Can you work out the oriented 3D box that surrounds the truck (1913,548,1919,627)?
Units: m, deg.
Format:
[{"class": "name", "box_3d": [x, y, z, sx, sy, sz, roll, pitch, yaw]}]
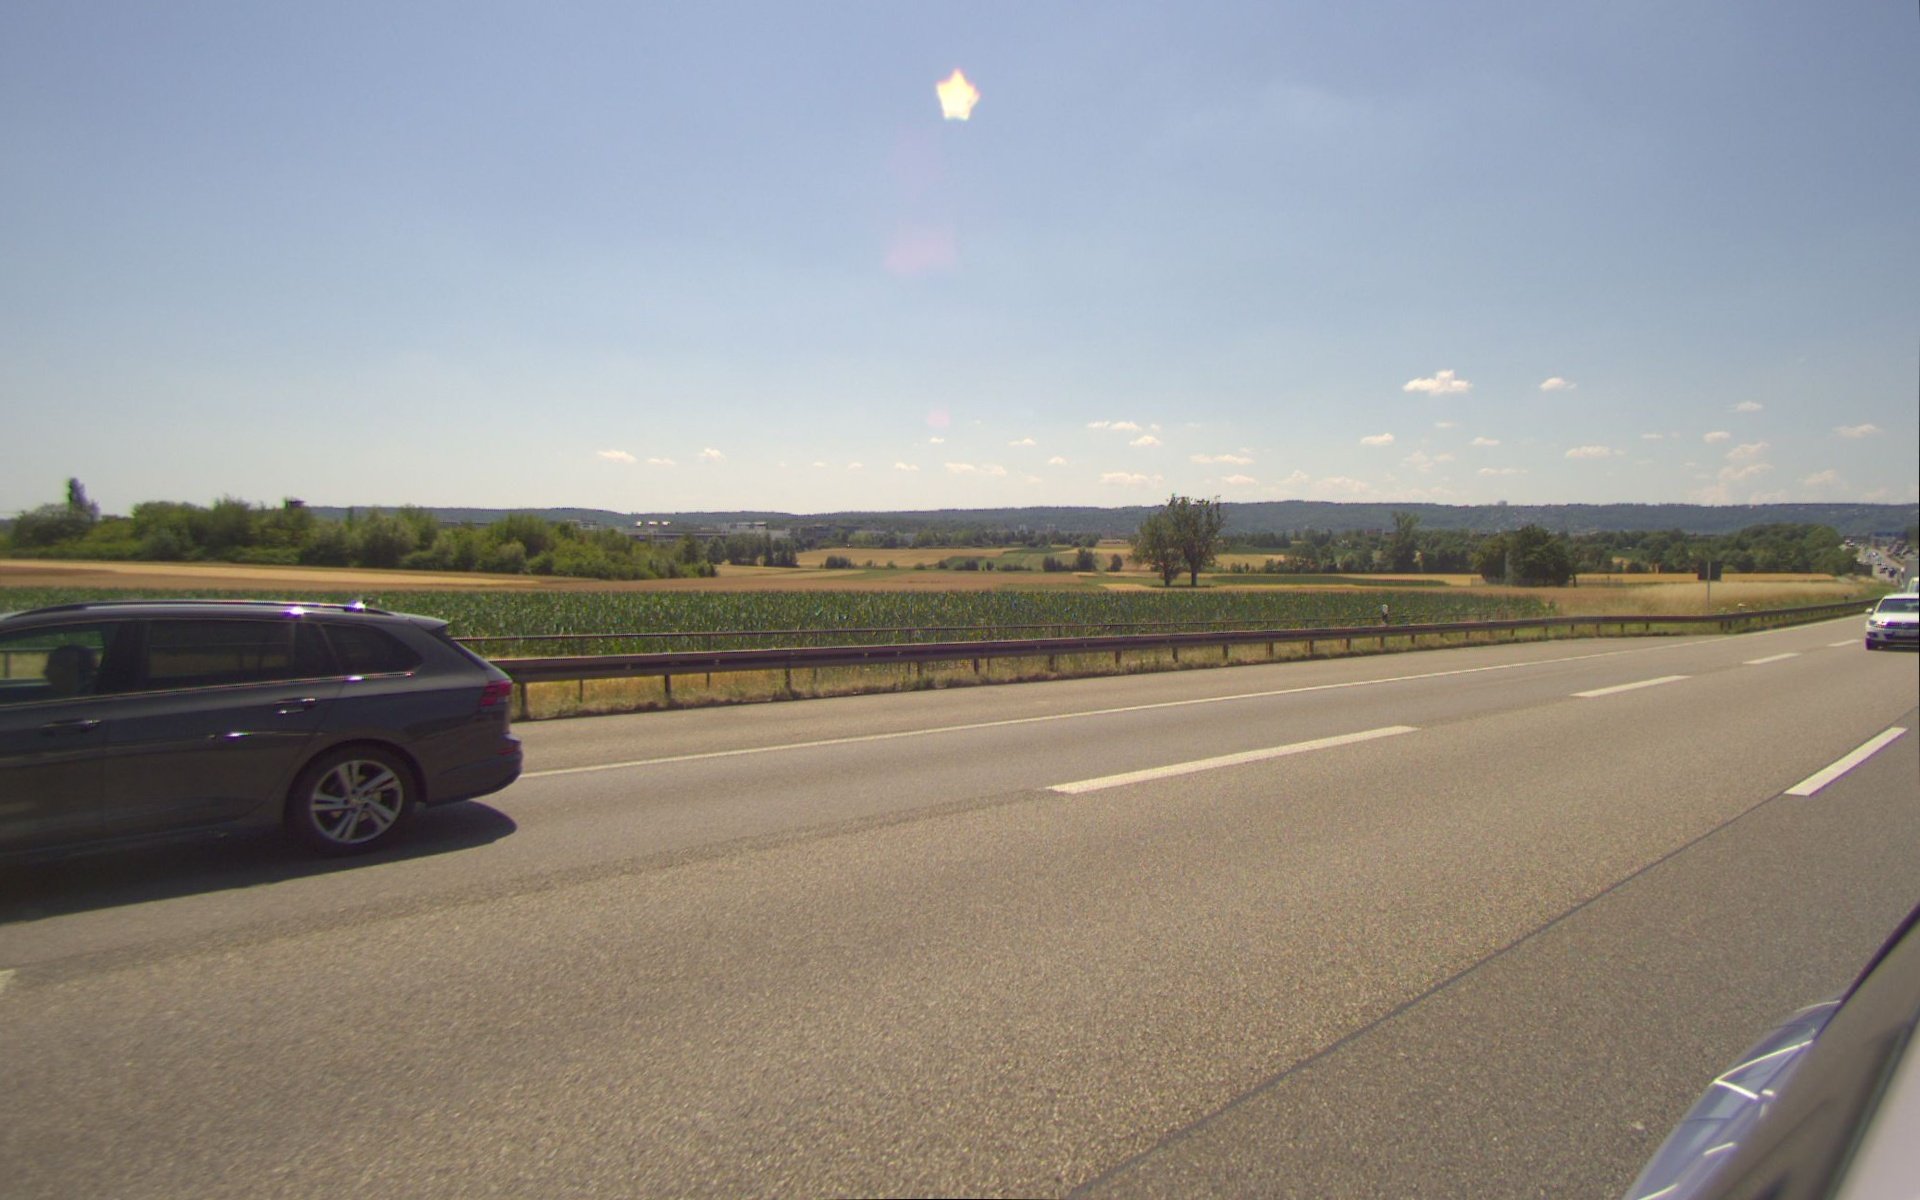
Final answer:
[{"class": "truck", "box_3d": [40.355, -0.543, 41.019, 2.439, 3.066, 6.808, 0, 1, 44]}]

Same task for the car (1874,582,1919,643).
[{"class": "car", "box_3d": [27.821, 0.320, 29.181, 4.103, 1.666, 1.834, -1, 1, -43]}]

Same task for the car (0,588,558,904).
[{"class": "car", "box_3d": [-4.828, 0.685, 5.698, 4.457, 1.489, 1.764, 0, 0, -41]}]
